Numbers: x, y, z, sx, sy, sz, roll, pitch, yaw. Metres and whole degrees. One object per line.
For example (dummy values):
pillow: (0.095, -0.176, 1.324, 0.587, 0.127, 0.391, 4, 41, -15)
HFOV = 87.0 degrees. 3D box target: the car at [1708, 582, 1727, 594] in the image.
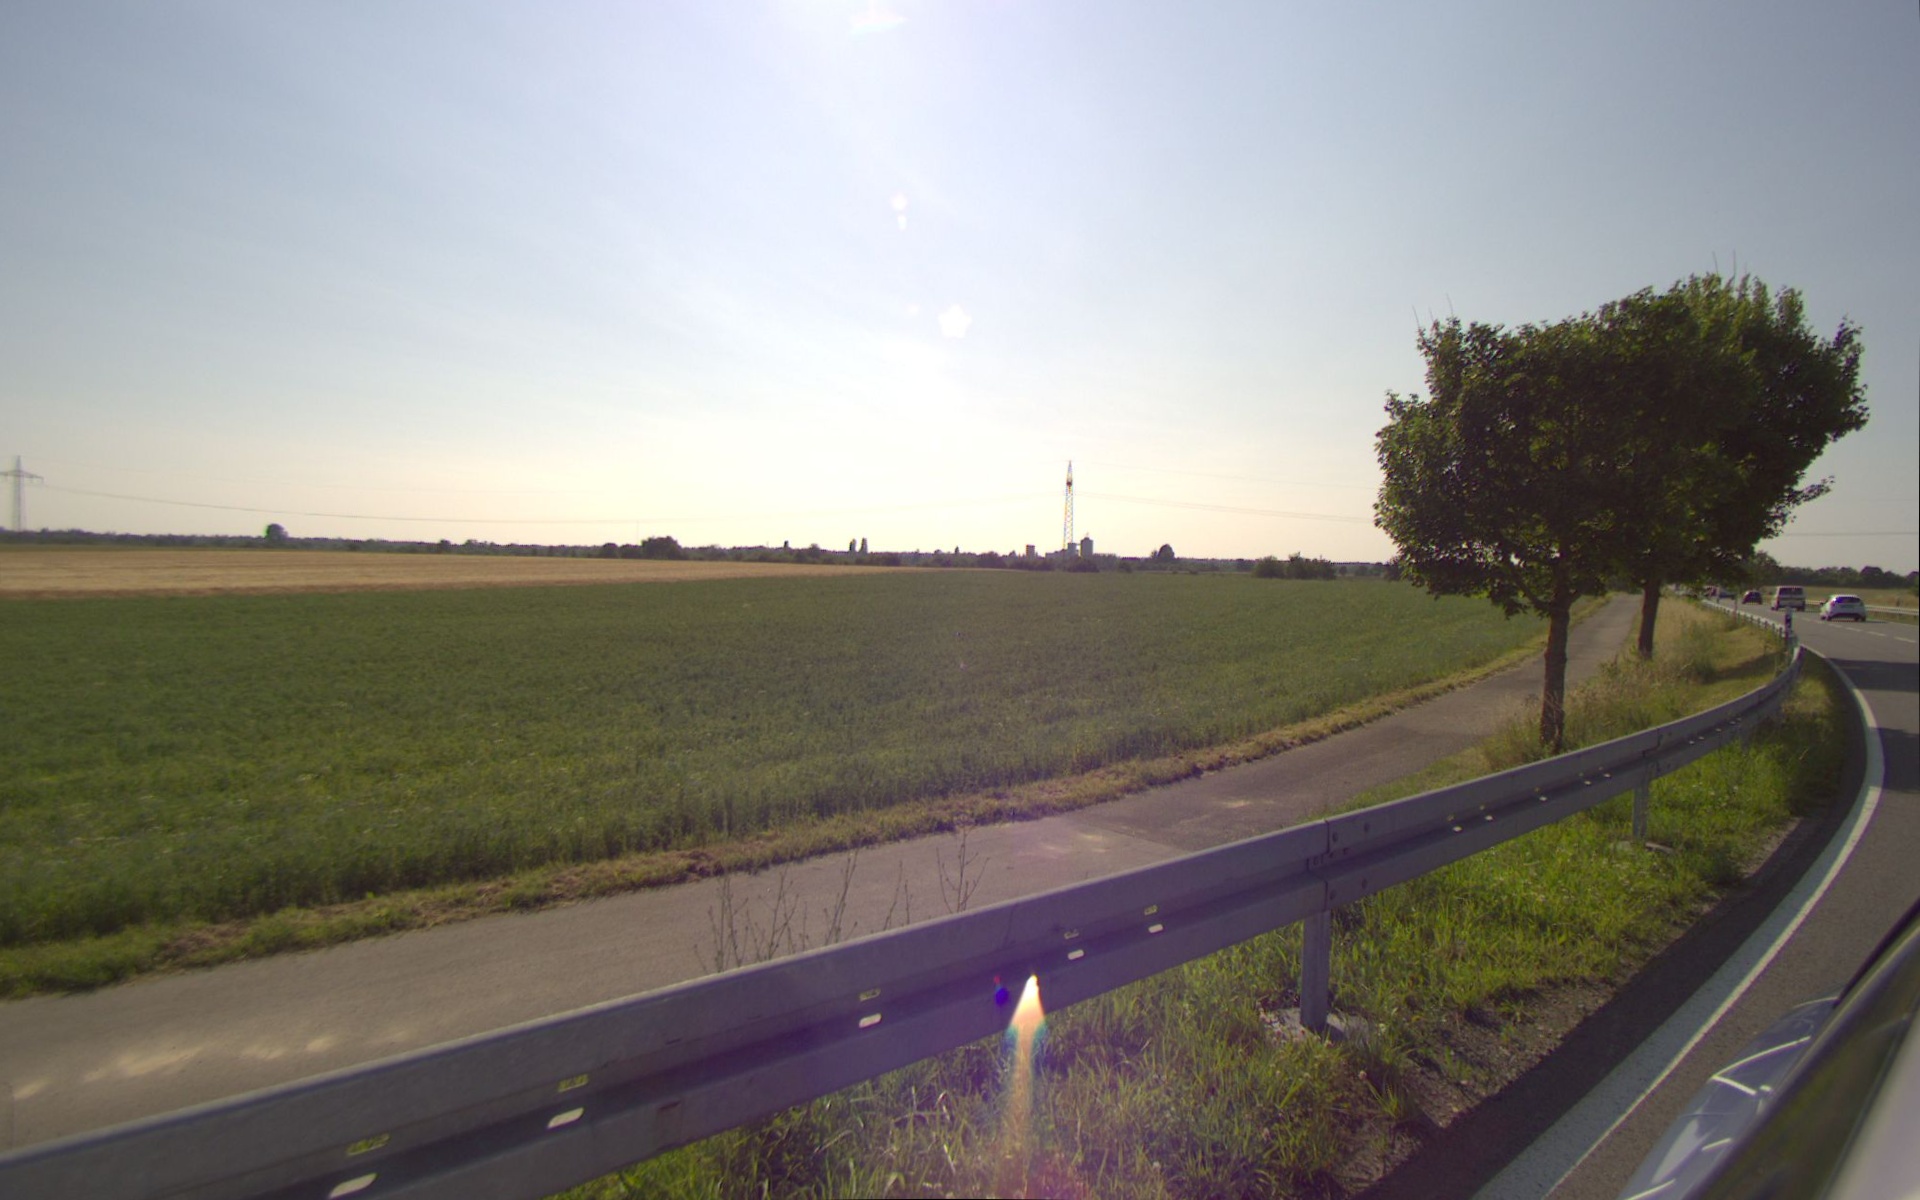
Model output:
car: (133.706, -2.153, 178.684, 2.391, 1.709, 5.311, 2, 4, 35)

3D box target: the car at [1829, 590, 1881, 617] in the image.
car: (49.767, 0.170, 56.318, 1.746, 1.447, 3.797, 0, 1, 35)

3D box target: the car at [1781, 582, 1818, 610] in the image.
car: (66.326, -0.365, 80.049, 1.906, 2.038, 4.723, 0, 2, 36)

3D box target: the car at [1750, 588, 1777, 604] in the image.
car: (87.938, -0.454, 110.803, 2.002, 1.604, 4.768, 2, 3, 35)

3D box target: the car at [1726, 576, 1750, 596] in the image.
car: (113.017, -2.048, 147.058, 2.391, 2.607, 5.309, 2, 3, 35)
